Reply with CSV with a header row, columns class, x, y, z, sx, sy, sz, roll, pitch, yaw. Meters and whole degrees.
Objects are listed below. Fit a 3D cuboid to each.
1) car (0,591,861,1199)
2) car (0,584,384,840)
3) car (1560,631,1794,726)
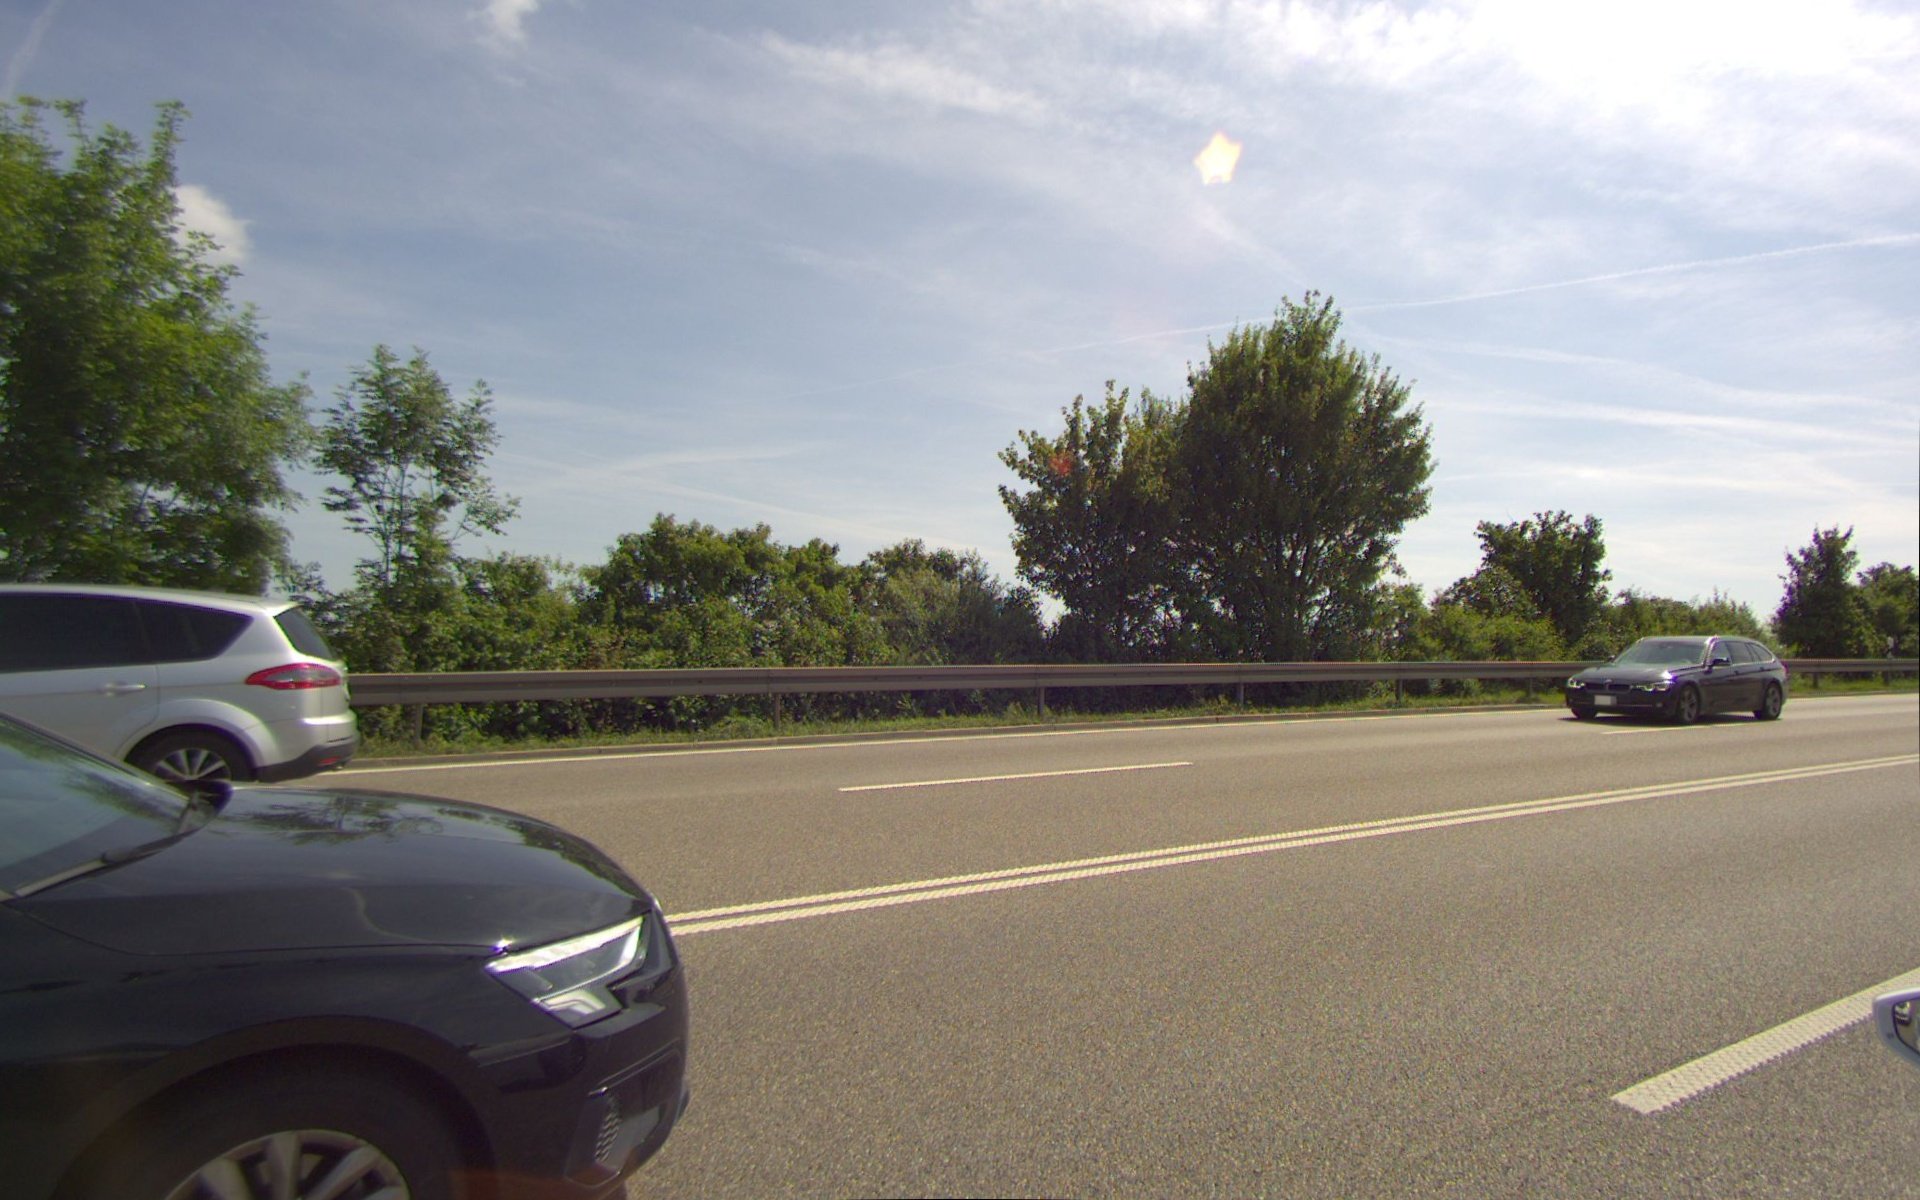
class,x,y,z,sx,sy,sz,roll,pitch,yaw
car,-2.705,0.709,1.848,4.756,1.492,1.696,2,-1,-31
car,-6.655,0.709,6.904,4.630,1.589,1.804,2,-2,-31
car,12.488,1.301,17.454,4.164,1.480,1.710,2,-2,-29
